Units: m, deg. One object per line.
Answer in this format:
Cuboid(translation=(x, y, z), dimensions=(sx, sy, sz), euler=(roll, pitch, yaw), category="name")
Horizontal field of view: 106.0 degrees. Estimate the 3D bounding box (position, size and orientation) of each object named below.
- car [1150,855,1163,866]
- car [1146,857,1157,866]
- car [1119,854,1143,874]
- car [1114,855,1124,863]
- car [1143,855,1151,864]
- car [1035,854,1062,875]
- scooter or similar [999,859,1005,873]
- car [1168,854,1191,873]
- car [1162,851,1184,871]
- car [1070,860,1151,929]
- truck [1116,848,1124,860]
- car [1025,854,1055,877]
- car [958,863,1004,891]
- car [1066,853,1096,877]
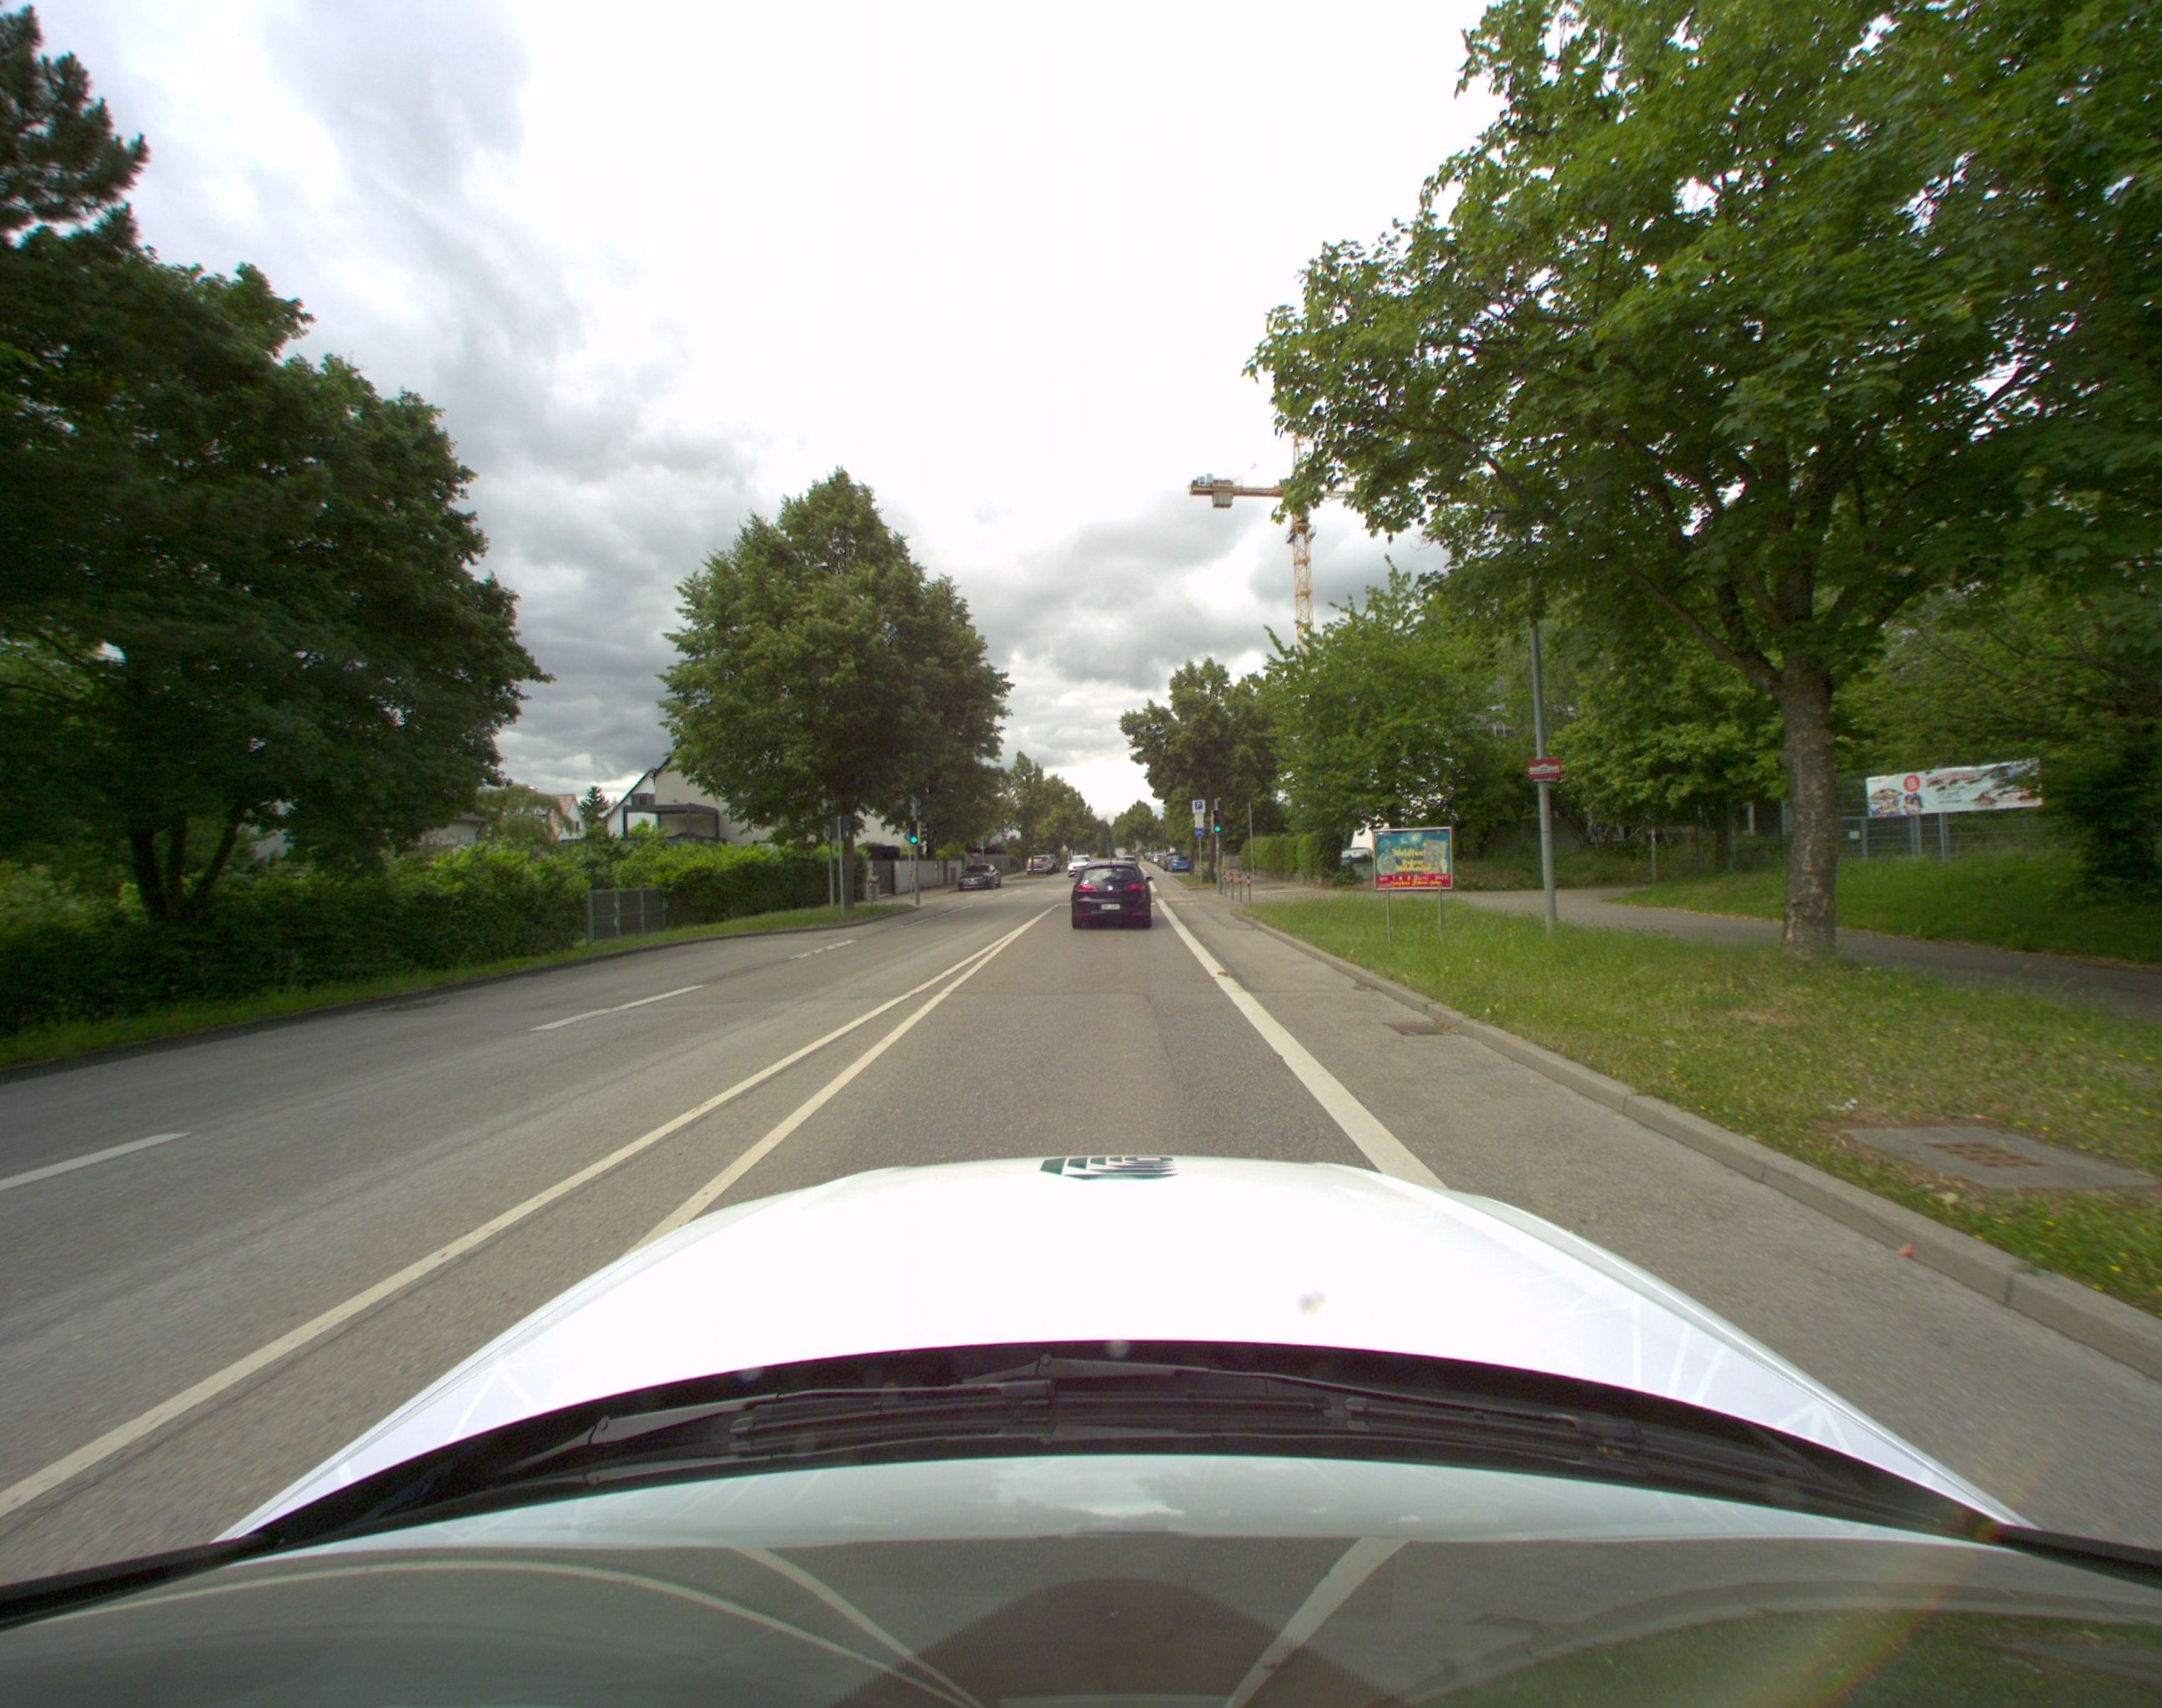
Cuboid(translation=(10.889, 0.886, 117.575), dimensions=(1.681, 1.564, 4.217), euler=(-2, 0, 3), category="car")
Cuboid(translation=(12.309, 1.282, 141.913), dimensions=(1.681, 1.564, 4.217), euler=(-2, 0, 3), category="car")
Cuboid(translation=(3.966, 0.773, 64.965), dimensions=(1.838, 1.510, 3.815), euler=(0, 0, 4), category="car")
Cuboid(translation=(7.714, 1.016, 165.081), dimensions=(1.874, 1.689, 4.217), euler=(-2, 0, 3), category="car")
Cuboid(translation=(15.021, 1.234, 184.781), dimensions=(1.681, 1.875, 4.217), euler=(-2, 0, 3), category="car")
Cuboid(translation=(-3.253, 1.016, 82.580), dimensions=(2.091, 1.896, 5.788), euler=(-4, 0, 3), category="car")
Cuboid(translation=(-6.945, 1.083, 71.832), dimensions=(0.386, 1.230, 1.498), euler=(-2, 0, -1), category="scooter or similar")
Cuboid(translation=(8.358, 0.765, 69.095), dimensions=(1.681, 1.490, 3.357), euler=(-2, 0, 3), category="car")
Cuboid(translation=(8.372, 0.601, 74.279), dimensions=(1.681, 1.711, 4.217), euler=(-2, 0, 3), category="car")
Cuboid(translation=(0.665, 0.852, 18.732), dimensions=(1.656, 1.401, 3.813), euler=(0, 0, 2), category="car")
Cuboid(translation=(10.835, -0.019, 227.298), dimensions=(2.270, 3.104, 8.515), euler=(0, -1, 2), category="truck")
Cuboid(translation=(-3.746, 1.055, 74.975), dimensions=(2.091, 1.896, 5.788), euler=(-4, 0, 3), category="car")
Cuboid(translation=(-5.588, 1.271, 46.181), dimensions=(1.711, 1.395, 4.805), euler=(-4, 0, 3), category="car")
Cuboid(translation=(0.020, 0.829, 63.163), dimensions=(1.866, 1.635, 4.346), euler=(-4, 0, 5), category="car")
